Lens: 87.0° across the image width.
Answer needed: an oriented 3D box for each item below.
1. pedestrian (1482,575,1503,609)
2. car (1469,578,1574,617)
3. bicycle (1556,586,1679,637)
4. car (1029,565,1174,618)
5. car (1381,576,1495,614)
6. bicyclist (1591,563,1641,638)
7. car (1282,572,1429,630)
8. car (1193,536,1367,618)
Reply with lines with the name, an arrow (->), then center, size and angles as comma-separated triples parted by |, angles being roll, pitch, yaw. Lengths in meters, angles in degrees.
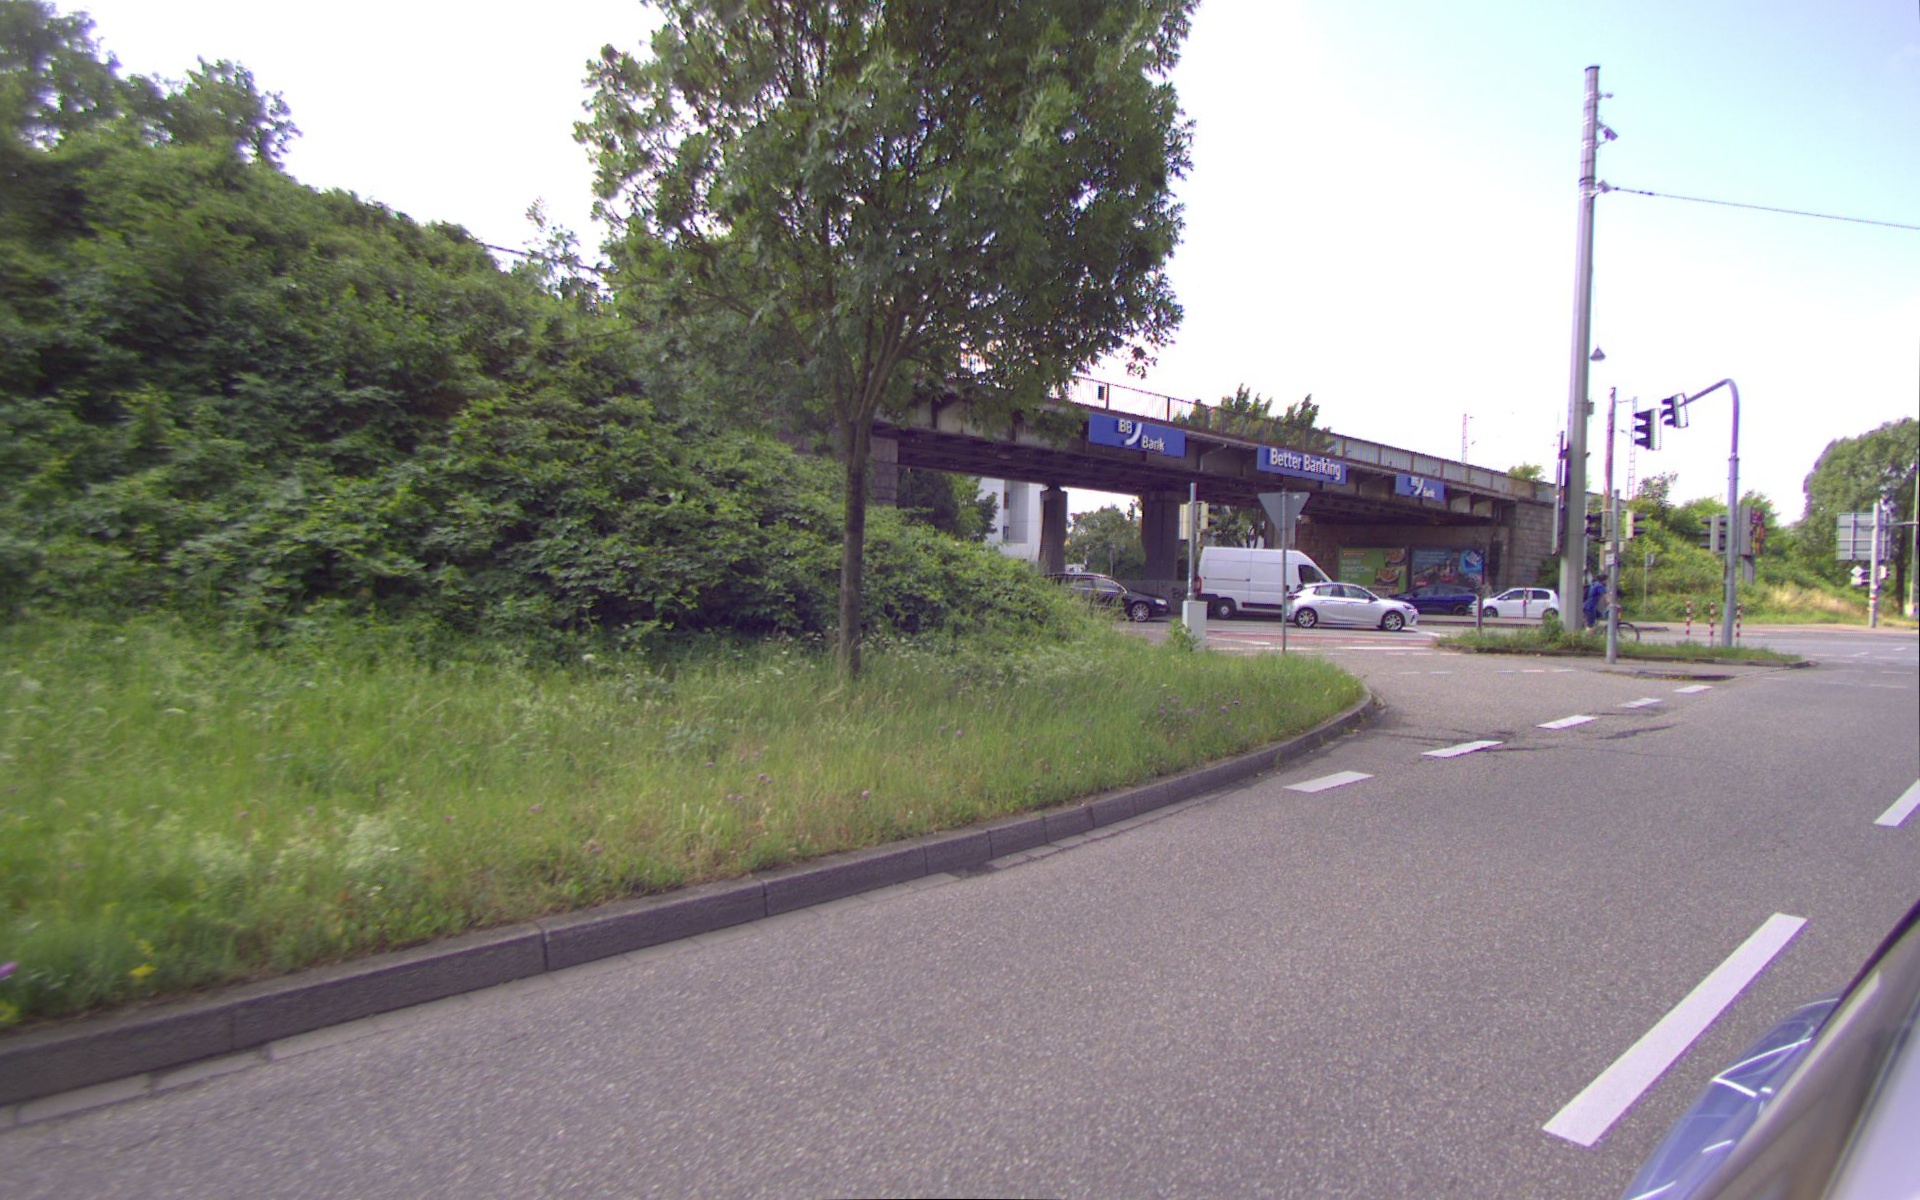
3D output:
pedestrian -> 27.306, -0.405, 51.893 | 0.597, 1.671, 0.694 | -3, 3, -23
car -> 24.226, -0.108, 43.798 | 3.547, 1.504, 1.731 | 3, 1, 13
bicycle -> 15.518, 0.266, 23.971 | 2.291, 1.106, 0.840 | 0, 4, 22
car -> 4.644, -0.310, 33.384 | 4.589, 1.603, 1.766 | 1, 1, 10
car -> 22.377, -0.244, 47.597 | 4.515, 1.594, 1.885 | 1, 4, 15
bicyclist -> 15.522, -0.010, 23.956 | 0.814, 1.698, 0.840 | 0, 4, 22
car -> 12.123, -0.015, 31.290 | 3.942, 1.494, 1.701 | 4, 2, 14
car -> 10.987, -0.805, 35.085 | 5.546, 2.555, 2.257 | -1, 5, 16
